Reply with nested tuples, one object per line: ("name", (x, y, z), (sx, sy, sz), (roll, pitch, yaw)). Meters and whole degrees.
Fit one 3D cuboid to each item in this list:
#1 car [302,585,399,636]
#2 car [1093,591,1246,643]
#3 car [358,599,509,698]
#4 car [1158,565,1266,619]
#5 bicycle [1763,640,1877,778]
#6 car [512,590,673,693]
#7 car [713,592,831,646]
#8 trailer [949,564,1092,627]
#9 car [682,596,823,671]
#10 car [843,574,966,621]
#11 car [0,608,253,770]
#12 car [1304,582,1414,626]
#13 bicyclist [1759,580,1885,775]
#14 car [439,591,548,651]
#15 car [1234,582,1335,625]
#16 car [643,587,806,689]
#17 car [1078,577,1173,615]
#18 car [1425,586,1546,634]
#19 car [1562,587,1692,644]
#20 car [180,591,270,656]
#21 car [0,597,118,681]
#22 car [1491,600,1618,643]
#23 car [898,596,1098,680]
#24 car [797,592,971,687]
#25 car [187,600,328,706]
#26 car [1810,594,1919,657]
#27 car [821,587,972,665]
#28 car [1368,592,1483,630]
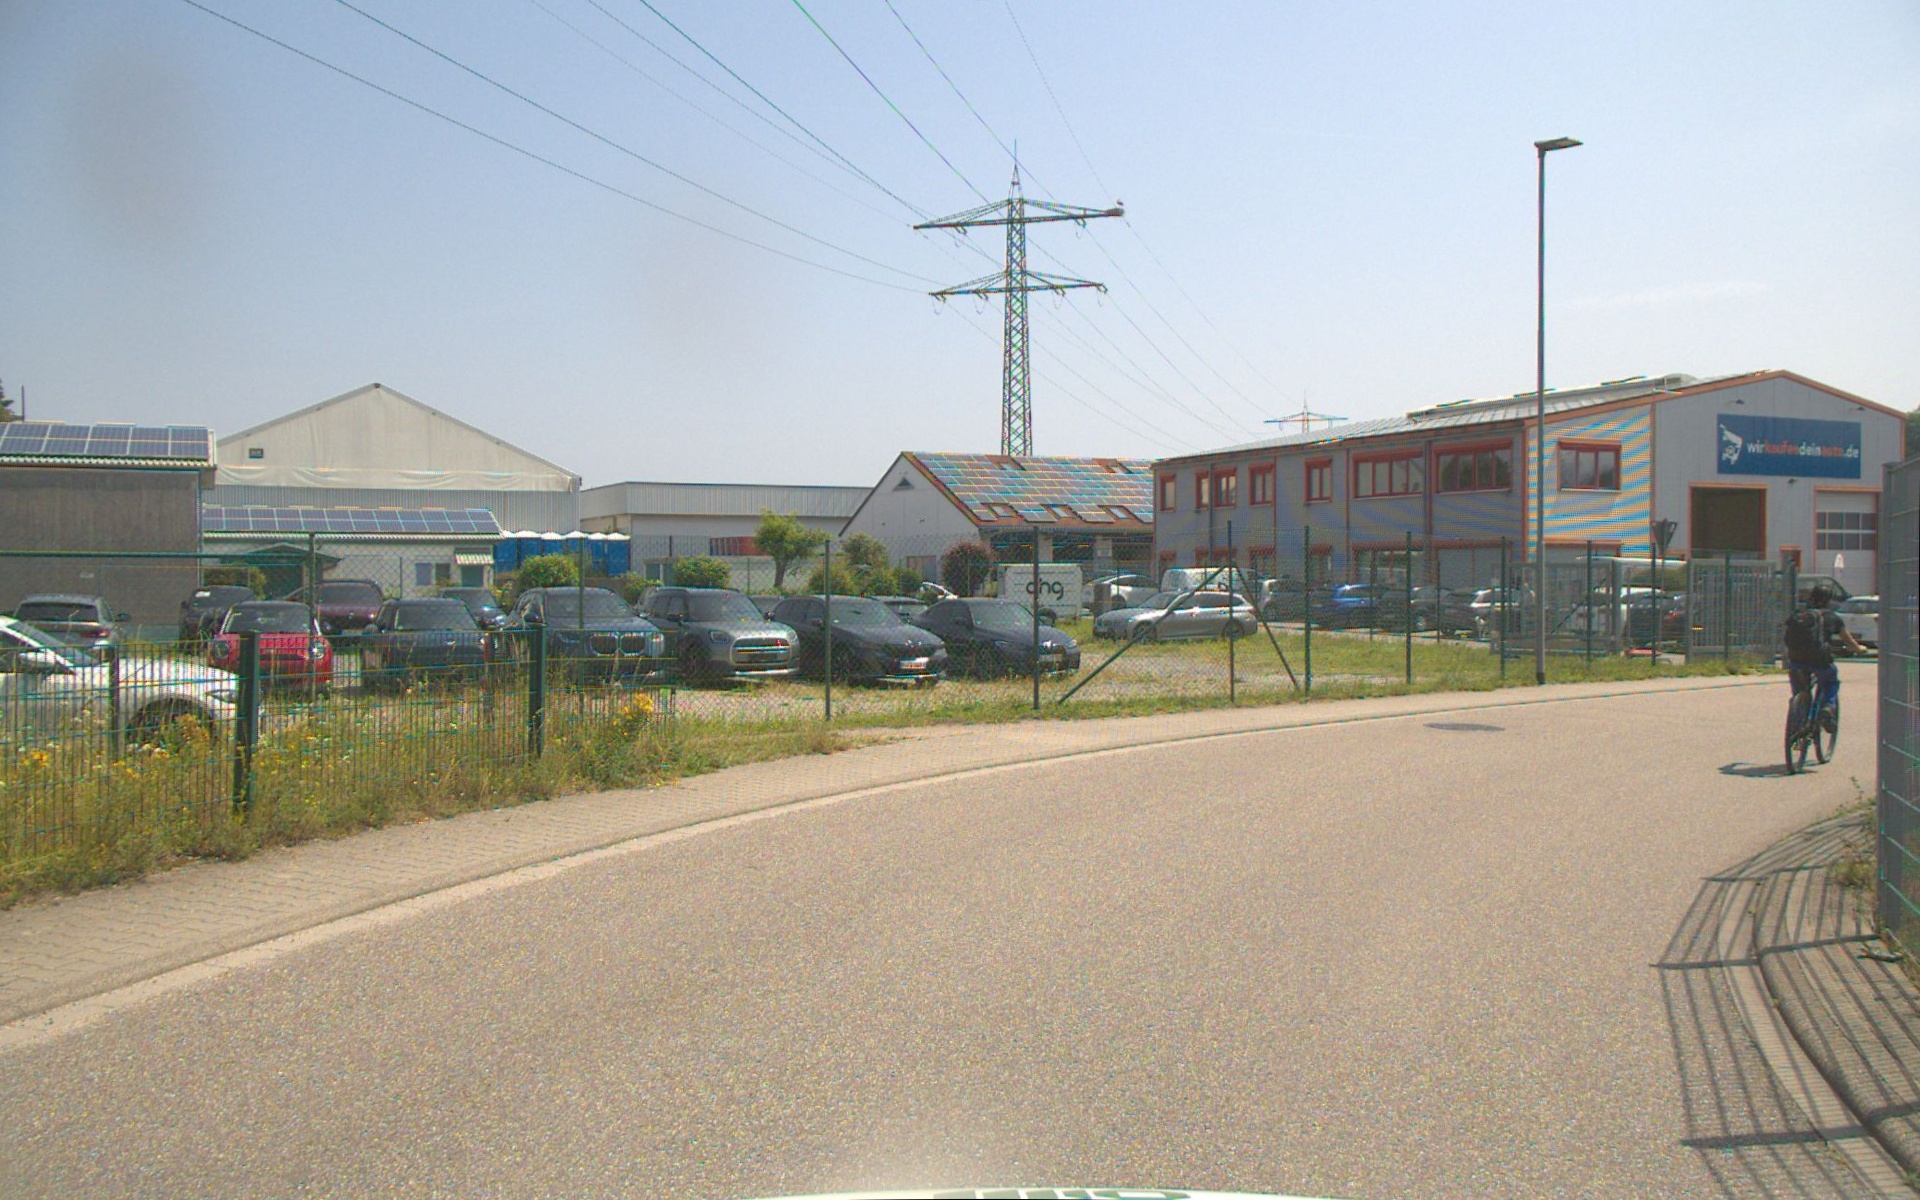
("car", (-15.233, 0.240, 41.182), (1.840, 1.196, 4.566), (0, 0, -26))
("car", (5.584, 0.428, 43.873), (4.080, 1.283, 1.224), (0, 1, -27))
("car", (-8.517, 0.720, 26.575), (1.840, 1.458, 3.618), (0, 0, -26))
("car", (9.694, -0.330, 63.618), (3.848, 2.013, 1.808), (0, 1, -27))
("bicycle", (7.691, 0.932, 14.750), (0.673, 1.069, 1.895), (2, 1, 34))
("car", (-6.168, 0.622, 27.502), (1.840, 1.588, 3.666), (0, 0, -26))
("car", (-5.438, 0.515, 47.296), (1.971, 1.460, 4.626), (0, 0, -26))
("trailer", (1.947, -0.163, 53.403), (4.368, 1.979, 1.710), (0, 1, -12))
("car", (-4.497, 0.663, 35.292), (1.967, 1.445, 3.971), (0, 1, -24))
("car", (-1.956, -0.098, 57.888), (3.935, 1.626, 1.862), (0, 0, -25))
("car", (-8.685, 0.752, 14.532), (4.491, 1.330, 1.853), (0, 0, -26))
("car", (13.480, 0.112, 55.882), (3.549, 1.441, 1.495), (0, 1, -27))
("bicyclist", (7.684, 0.656, 14.732), (0.828, 1.646, 1.035), (1, 1, 36))
("car", (-12.217, 0.505, 43.129), (1.971, 1.460, 4.626), (0, 0, -26))
("car", (12.067, 0.111, 61.521), (3.549, 1.571, 1.495), (0, 1, -27))
("car", (-4.189, 0.613, 29.038), (1.840, 1.672, 3.604), (0, 0, -26))
("car", (7.042, -0.186, 70.232), (3.848, 1.542, 1.495), (0, 1, -27))
("car", (16.106, 0.284, 50.713), (3.549, 1.405, 1.495), (0, 1, -27))
("car", (18.891, 0.415, 46.848), (3.549, 1.566, 1.495), (0, 1, -27))
("car", (-17.672, 0.514, 39.646), (1.840, 1.458, 4.566), (0, 0, -26))
("car", (-15.478, 0.618, 28.348), (1.841, 1.321, 3.409), (0, 0, -28))
("car", (17.418, 0.612, 48.451), (3.549, 1.171, 1.495), (0, 1, -27))
("car", (0.632, 0.665, 31.737), (1.971, 1.460, 4.626), (0, 0, -26))
("car", (-1.432, 0.648, 29.721), (1.840, 1.581, 3.739), (0, 0, -26))
("car", (-10.834, 0.750, 25.381), (1.840, 1.479, 3.412), (0, 0, -26))
("car", (22.627, 0.584, 40.256), (3.549, 1.429, 1.736), (0, 1, -27))
("car", (-1.478, 0.510, 36.444), (1.967, 1.460, 4.393), (0, 2, -22))
("car", (15.088, 0.340, 53.596), (3.549, 1.171, 1.495), (0, 1, -27))
